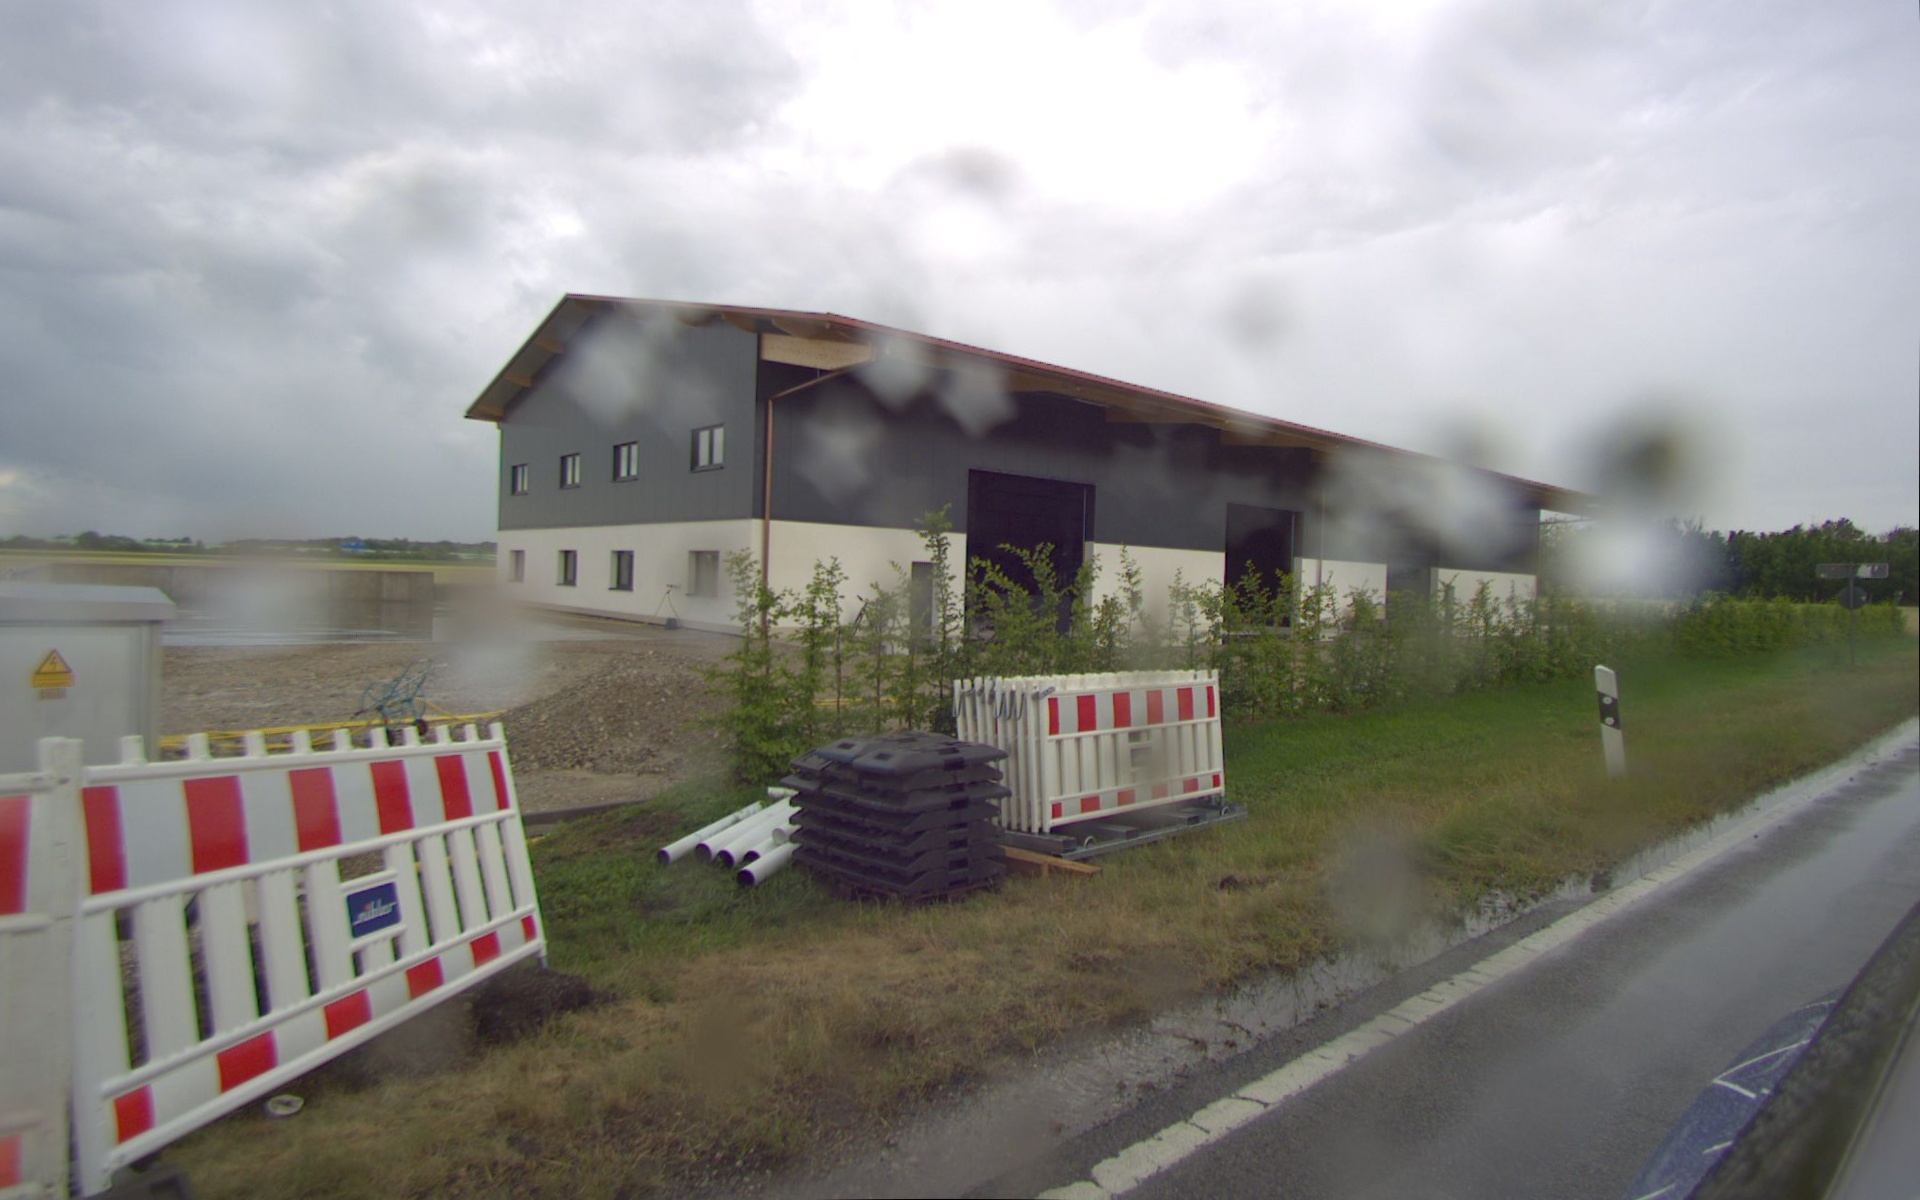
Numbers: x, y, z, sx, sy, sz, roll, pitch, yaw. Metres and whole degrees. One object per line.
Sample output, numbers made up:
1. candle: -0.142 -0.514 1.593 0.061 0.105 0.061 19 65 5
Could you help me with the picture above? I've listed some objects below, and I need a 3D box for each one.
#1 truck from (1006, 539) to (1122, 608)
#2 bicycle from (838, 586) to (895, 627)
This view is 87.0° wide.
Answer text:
1. truck: 4.965 -1.244 47.858 5.250 3.050 2.495 0 2 -41
2. bicycle: -2.576 0.171 27.982 1.631 1.085 0.391 0 2 -41
